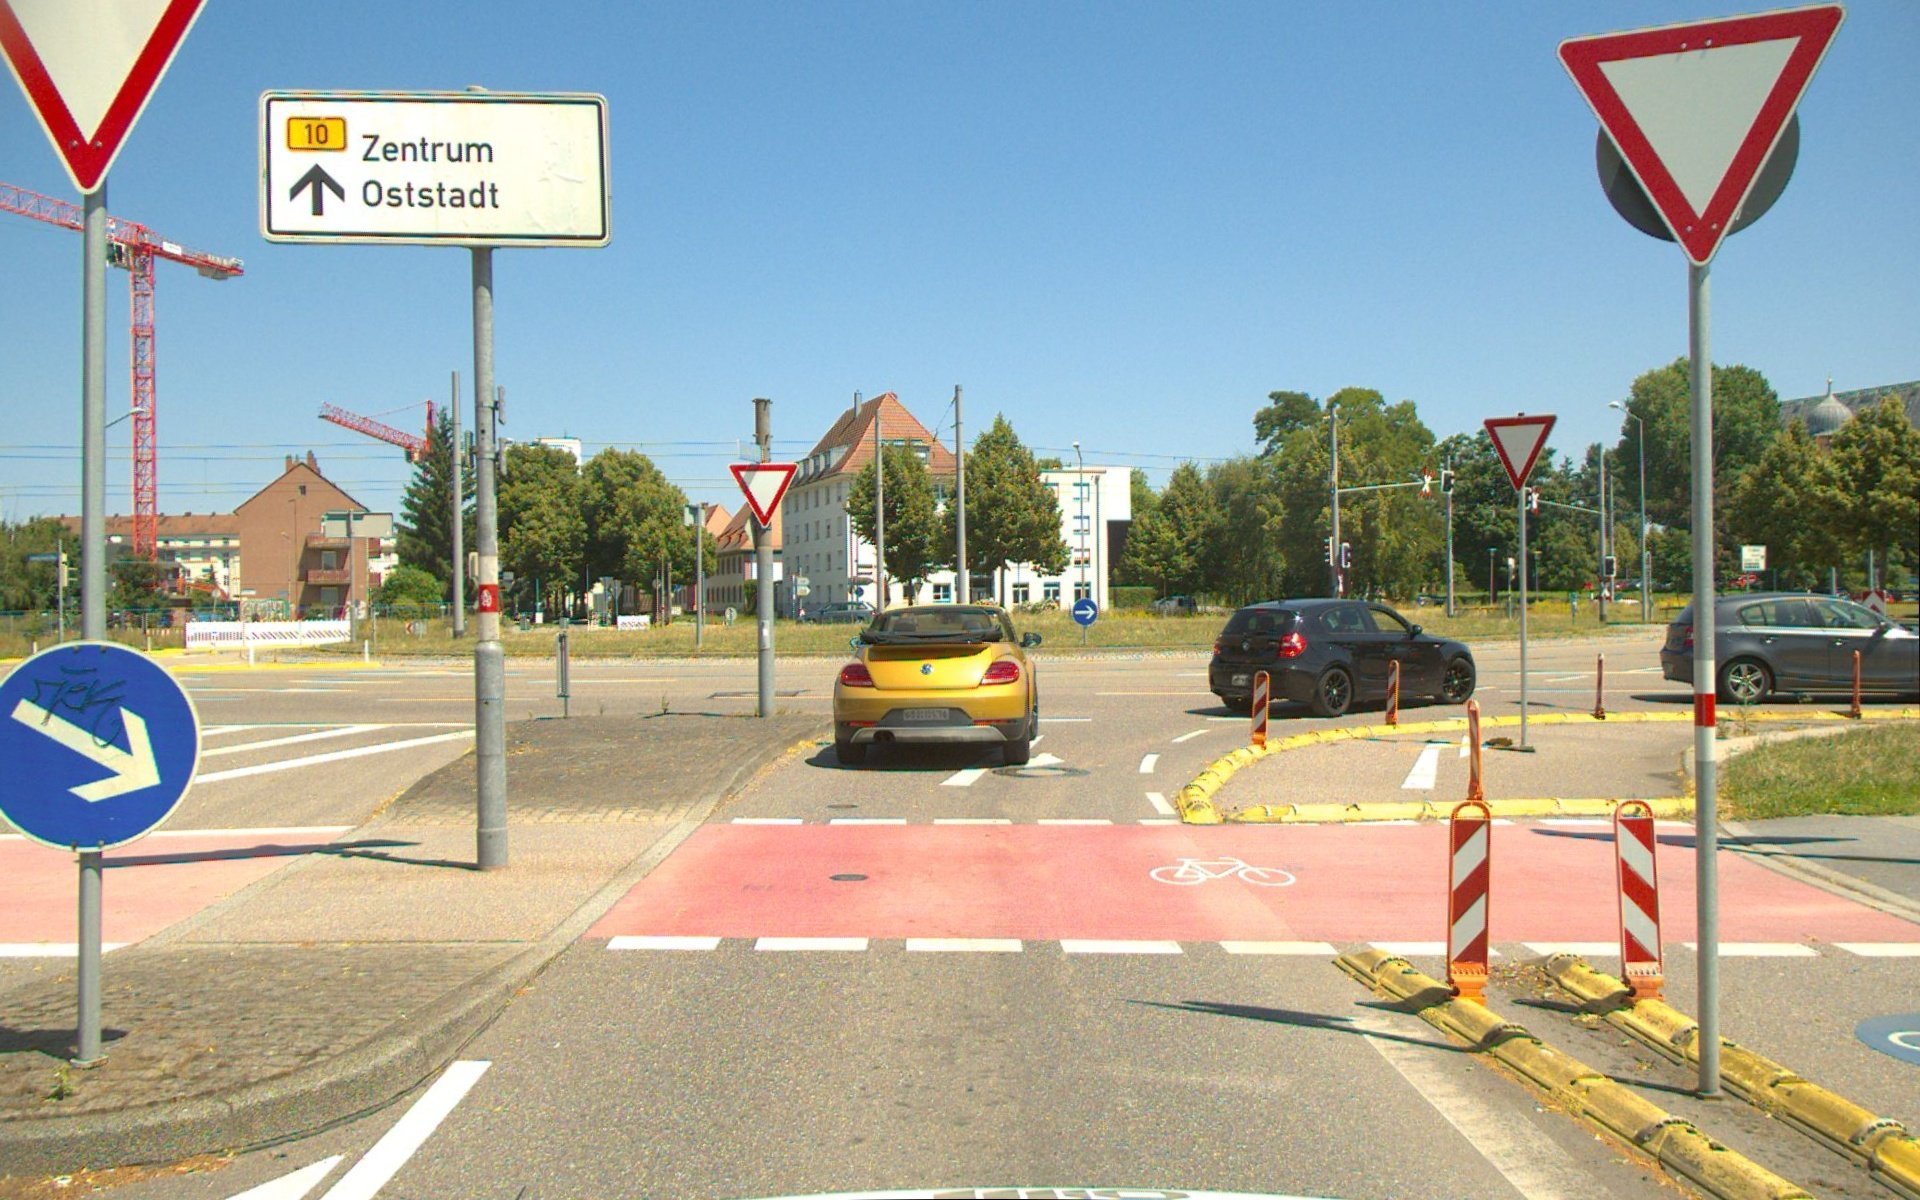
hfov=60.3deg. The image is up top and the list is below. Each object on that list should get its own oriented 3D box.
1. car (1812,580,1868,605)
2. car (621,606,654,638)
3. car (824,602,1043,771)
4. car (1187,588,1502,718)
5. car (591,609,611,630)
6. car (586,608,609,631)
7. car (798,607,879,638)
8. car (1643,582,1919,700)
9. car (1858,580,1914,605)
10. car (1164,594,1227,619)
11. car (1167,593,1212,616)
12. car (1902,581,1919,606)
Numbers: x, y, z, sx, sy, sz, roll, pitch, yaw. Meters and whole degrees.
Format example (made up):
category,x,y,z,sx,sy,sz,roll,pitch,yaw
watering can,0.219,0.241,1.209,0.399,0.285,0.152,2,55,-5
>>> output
category,x,y,z,sx,sy,sz,roll,pitch,yaw
car,74.256,-0.641,139.630,3.924,2.049,1.990,0,-1,39
car,-21.367,1.437,109.461,1.959,2.049,3.986,1,-1,-13
car,-0.141,0.743,16.023,1.787,1.427,3.664,0,0,4
car,5.017,0.615,21.431,3.952,1.465,1.782,-1,1,-34
car,-36.124,1.948,166.447,1.959,2.049,3.986,1,-1,-13
car,-32.827,1.794,149.611,1.959,2.049,3.986,1,-1,-13
car,-6.093,1.122,83.257,3.904,1.490,2.000,0,-1,1
car,11.386,0.519,21.945,3.980,1.427,1.755,-1,1,10
car,78.250,-0.614,139.749,3.924,2.049,1.990,0,-1,39
car,16.389,0.462,115.286,3.918,1.713,1.993,0,-1,-13
car,21.238,0.427,152.868,3.902,2.049,2.001,0,-1,14
car,83.153,-0.564,141.701,1.985,2.049,3.935,1,-1,-44
